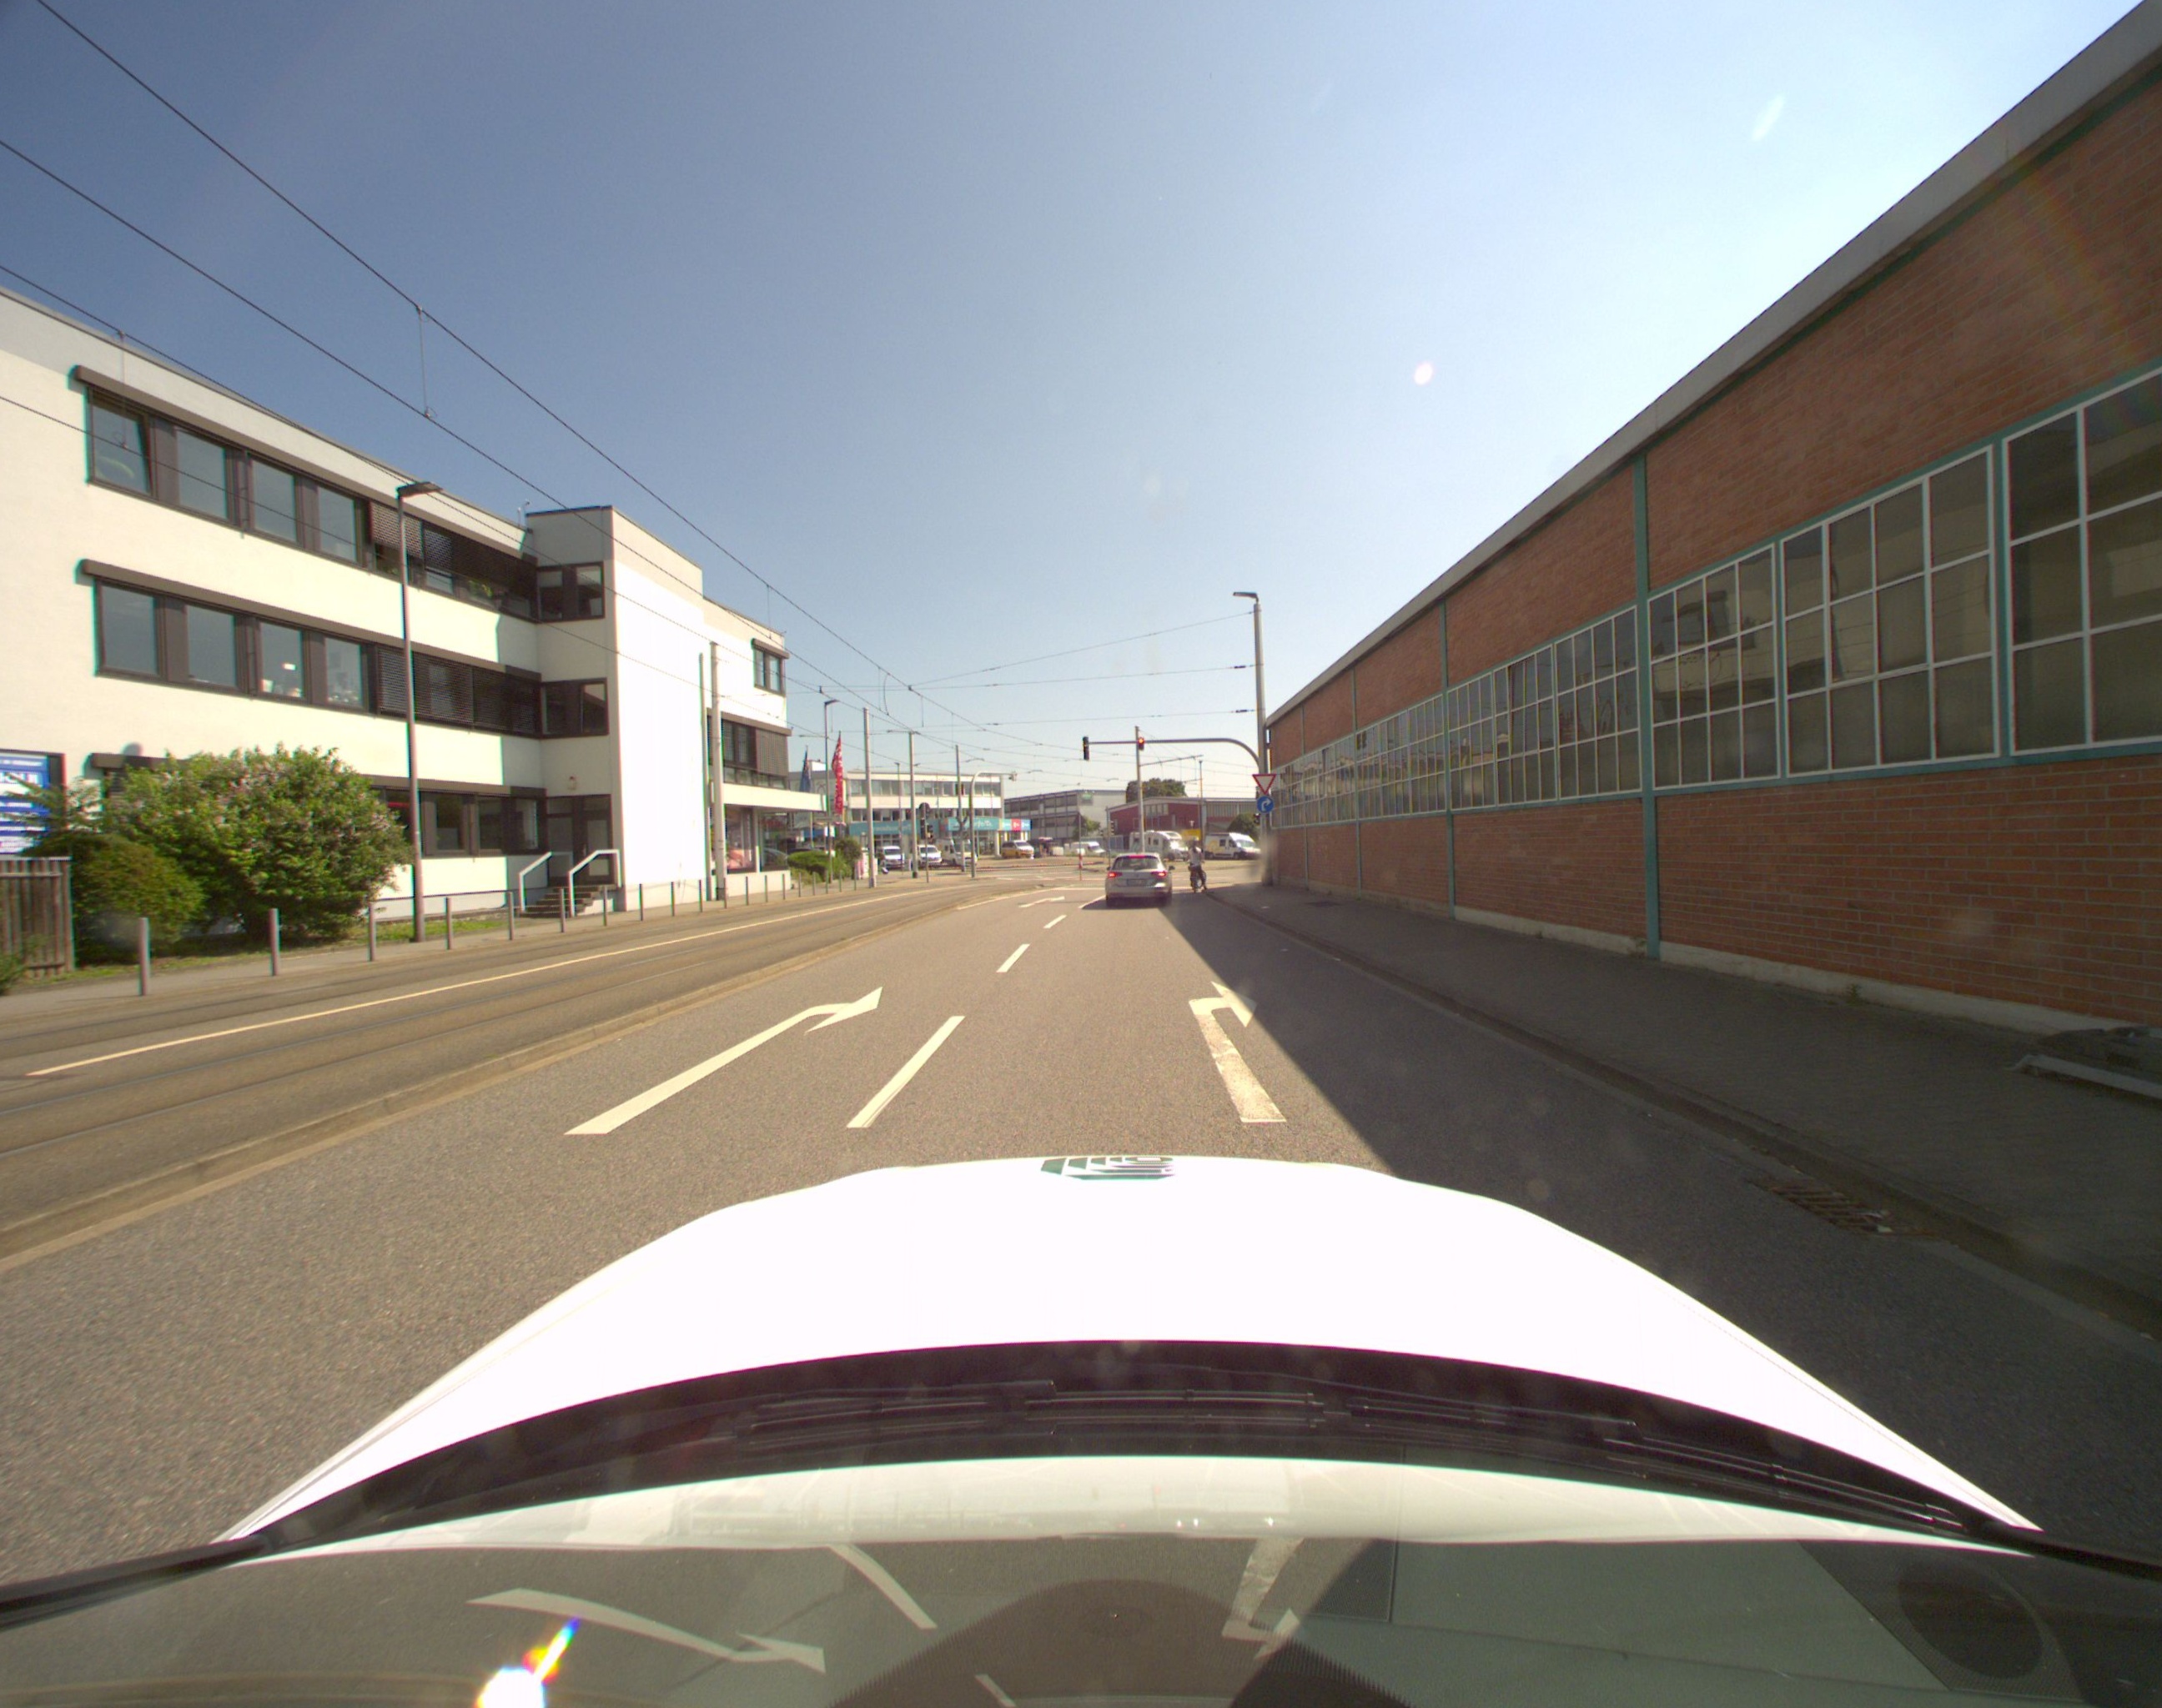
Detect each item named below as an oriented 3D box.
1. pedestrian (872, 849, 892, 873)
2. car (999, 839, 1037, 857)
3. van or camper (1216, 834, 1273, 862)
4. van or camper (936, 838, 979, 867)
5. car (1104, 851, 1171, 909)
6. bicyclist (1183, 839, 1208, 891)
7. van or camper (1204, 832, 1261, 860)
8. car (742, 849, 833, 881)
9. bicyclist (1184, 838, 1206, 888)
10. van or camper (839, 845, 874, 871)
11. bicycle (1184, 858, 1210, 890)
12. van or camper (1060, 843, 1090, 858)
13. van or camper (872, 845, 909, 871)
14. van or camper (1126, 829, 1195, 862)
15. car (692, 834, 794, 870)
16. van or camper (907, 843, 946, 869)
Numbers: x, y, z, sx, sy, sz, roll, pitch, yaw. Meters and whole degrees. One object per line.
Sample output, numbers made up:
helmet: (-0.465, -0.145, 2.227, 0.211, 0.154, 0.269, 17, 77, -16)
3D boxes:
pedestrian: (-12.861, 0.450, 52.565, 1.129, 1.455, 0.835, -2, 0, -7)
car: (-6.768, -0.635, 87.326, 1.951, 1.759, 5.072, -2, 0, -31)
van or camper: (16.572, -0.648, 82.868, 2.299, 2.611, 5.831, -3, 3, -34)
van or camper: (-11.195, -0.188, 73.593, 2.043, 2.295, 5.761, -3, 3, -27)
car: (1.687, 0.677, 23.515, 1.738, 1.459, 4.006, -2, 0, 5)
bicyclist: (3.937, 0.363, 28.014, 0.782, 1.721, 1.149, -1, 0, 6)
van or camper: (14.653, -0.807, 79.039, 2.299, 2.439, 5.331, -3, 4, -34)
car: (-15.449, 0.561, 43.004, 3.968, 1.518, 2.003, -1, 2, 5)
bicyclist: (4.227, 0.314, 30.228, 0.704, 1.810, 0.984, -1, 0, 5)
van or camper: (-19.896, 0.294, 72.081, 2.005, 2.013, 4.720, -3, 3, -27)
bicycle: (3.979, 0.655, 28.031, 0.790, 1.021, 2.154, -1, 0, 6)
van or camper: (-0.864, -0.459, 113.610, 2.011, 1.947, 3.951, -2, 0, -44)
van or camper: (-16.847, 0.296, 71.938, 2.005, 2.013, 4.720, -3, 3, -27)
van or camper: (7.560, -0.885, 78.552, 2.366, 2.930, 6.905, -3, 3, -40)
car: (-16.126, -0.091, 38.956, 3.968, 1.563, 2.003, -1, 0, 5)
van or camper: (-13.735, 0.131, 72.143, 2.005, 2.013, 4.966, -3, 3, -27)
